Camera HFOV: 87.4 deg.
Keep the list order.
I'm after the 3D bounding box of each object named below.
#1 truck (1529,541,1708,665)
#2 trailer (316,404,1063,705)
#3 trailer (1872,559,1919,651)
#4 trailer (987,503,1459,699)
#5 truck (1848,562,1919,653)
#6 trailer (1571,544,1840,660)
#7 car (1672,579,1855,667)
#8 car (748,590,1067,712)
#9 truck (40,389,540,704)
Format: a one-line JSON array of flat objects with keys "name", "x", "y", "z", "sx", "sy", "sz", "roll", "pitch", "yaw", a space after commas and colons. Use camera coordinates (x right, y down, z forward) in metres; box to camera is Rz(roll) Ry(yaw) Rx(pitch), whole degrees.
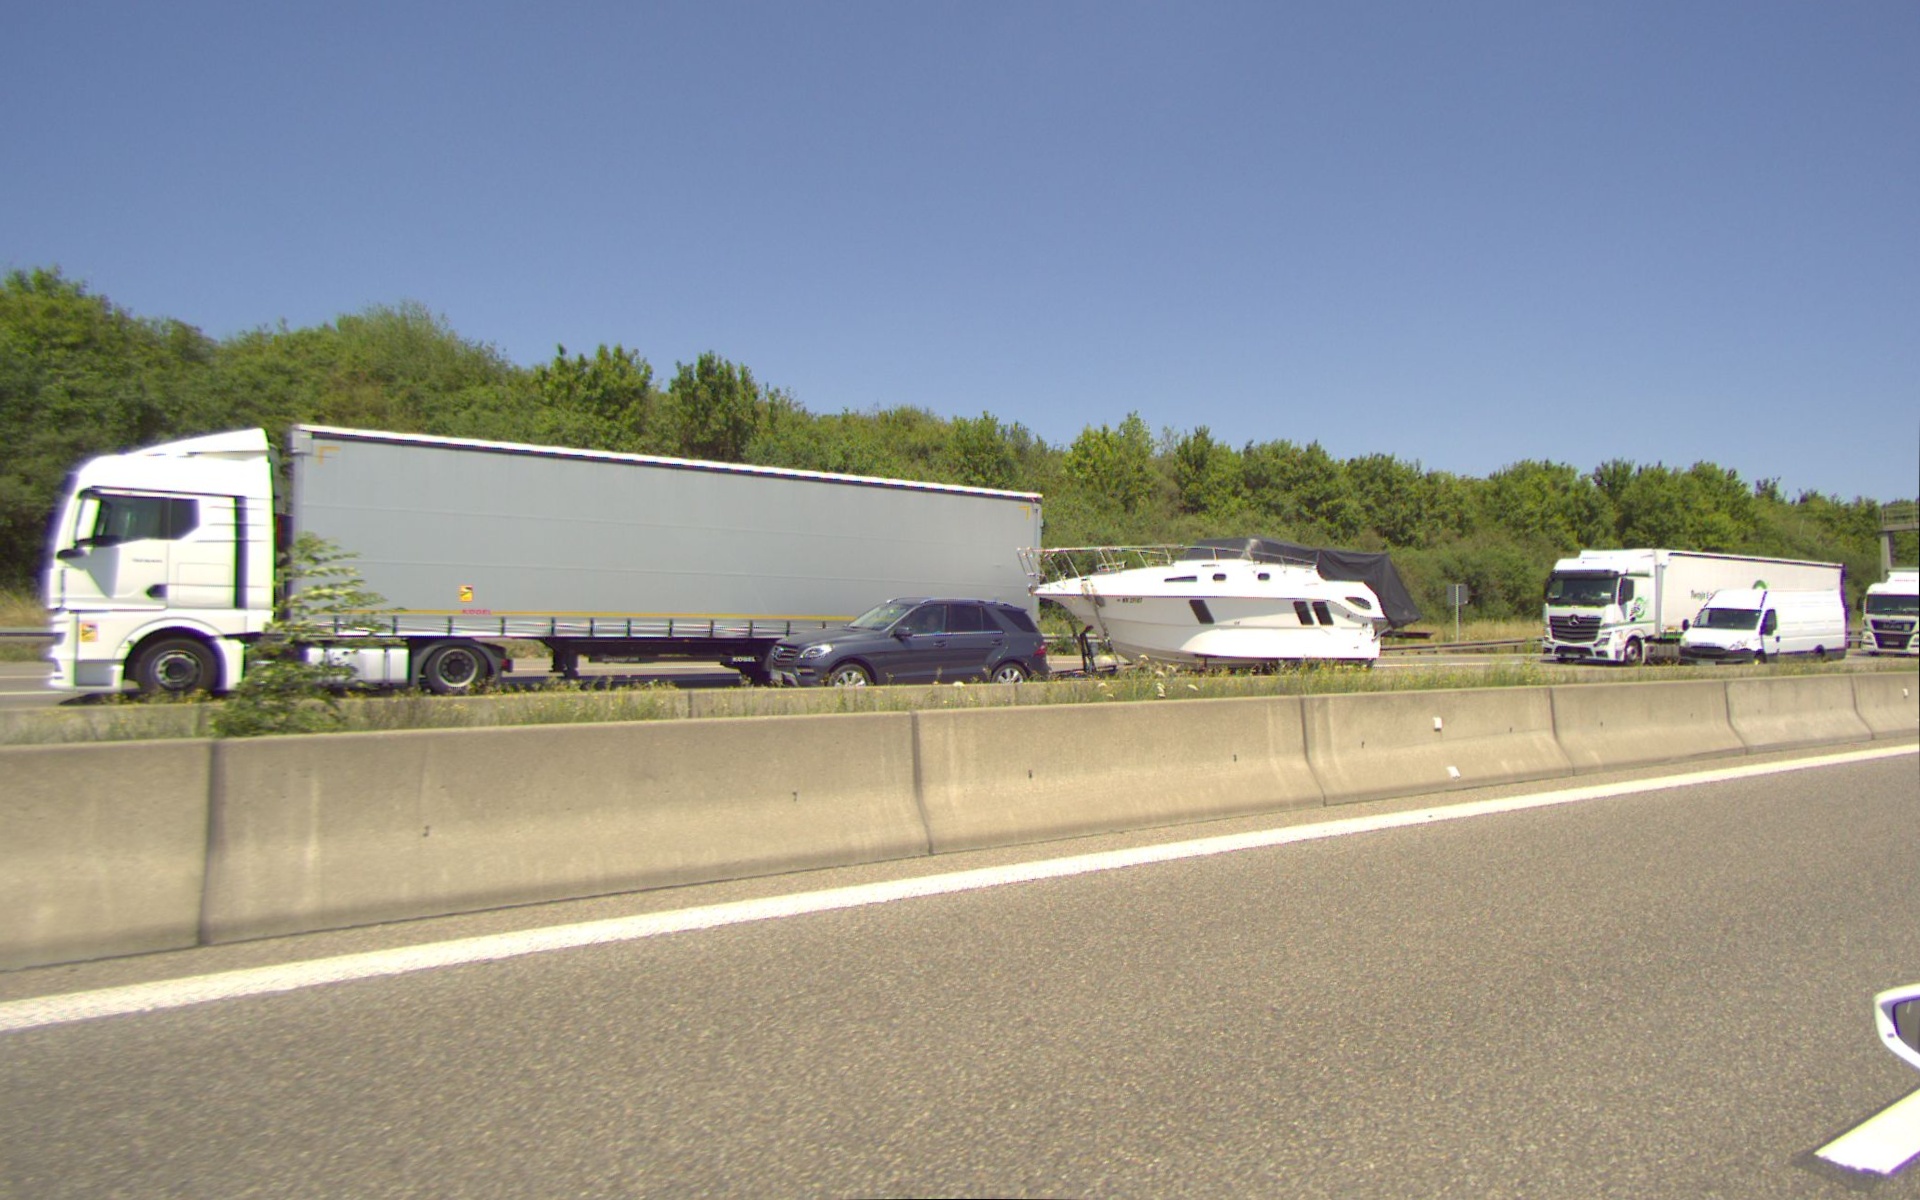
[{"name": "truck", "x": 23.268, "y": 0.145, "z": 35.456, "sx": 5.901, "sy": 4.060, "sz": 2.836, "roll": 1, "pitch": 0, "yaw": -29}, {"name": "trailer", "x": -4.436, "y": -0.528, "z": 19.771, "sx": 13.618, "sy": 4.480, "sz": 3.206, "roll": 1, "pitch": -1, "yaw": -30}, {"name": "trailer", "x": 50.760, "y": 0.310, "z": 50.578, "sx": 13.697, "sy": 4.335, "sz": 2.799, "roll": 1, "pitch": 0, "yaw": -29}, {"name": "trailer", "x": 5.784, "y": 0.165, "z": 20.644, "sx": 10.611, "sy": 3.226, "sz": 2.854, "roll": 2, "pitch": 0, "yaw": -32}, {"name": "truck", "x": 44.985, "y": 0.364, "z": 47.440, "sx": 6.025, "sy": 4.097, "sz": 2.742, "roll": 1, "pitch": 0, "yaw": -29}, {"name": "trailer", "x": 28.960, "y": 0.200, "z": 38.652, "sx": 13.706, "sy": 3.924, "sz": 2.891, "roll": 1, "pitch": 0, "yaw": -29}, {"name": "car", "x": 25.821, "y": 0.748, "z": 32.178, "sx": 7.480, "sy": 2.608, "sz": 1.889, "roll": 1, "pitch": 0, "yaw": -29}, {"name": "car", "x": -0.803, "y": 0.800, "z": 16.612, "sx": 4.877, "sy": 1.746, "sz": 2.095, "roll": 2, "pitch": -1, "yaw": -32}, {"name": "truck", "x": -10.327, "y": -0.639, "z": 16.289, "sx": 6.110, "sy": 4.187, "sz": 3.184, "roll": 1, "pitch": -1, "yaw": -30}]
